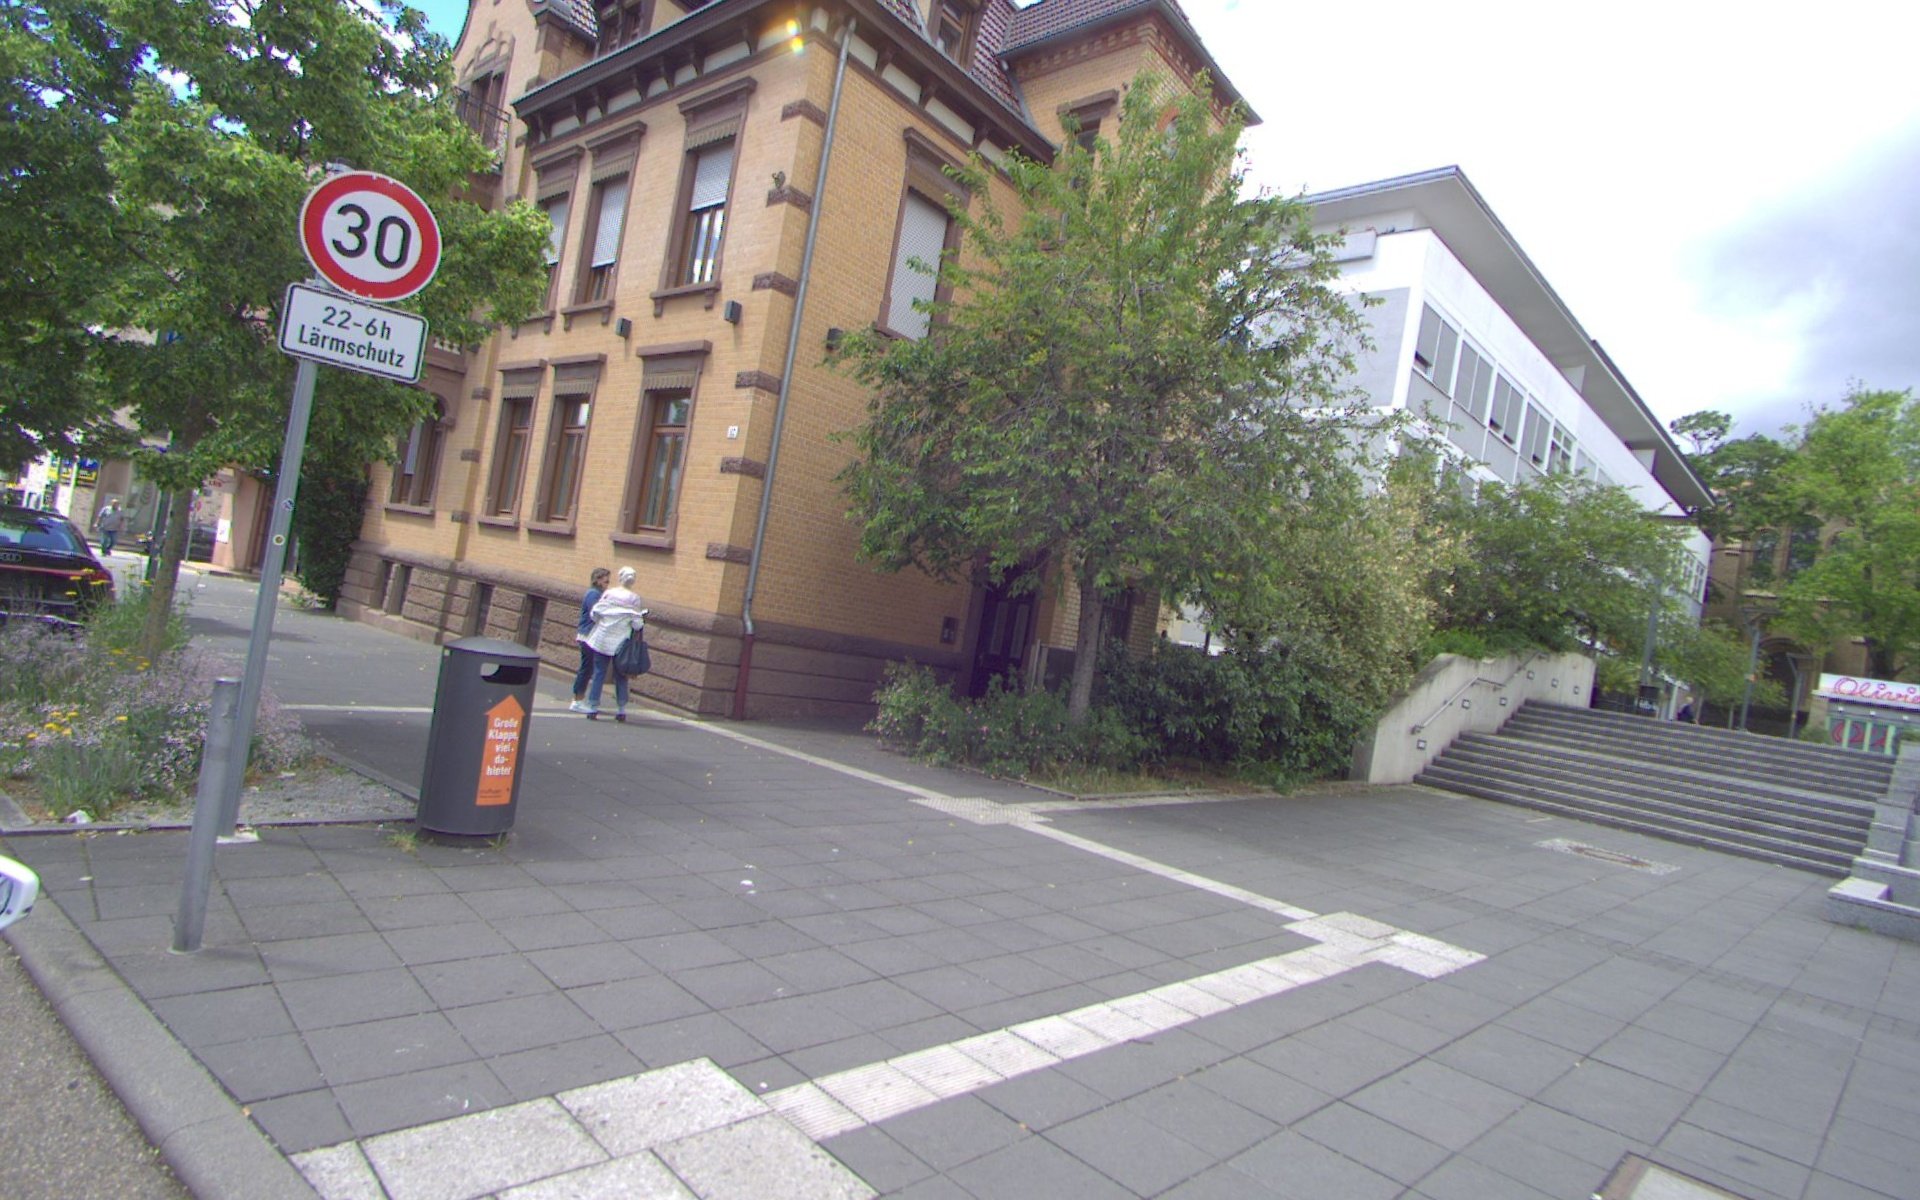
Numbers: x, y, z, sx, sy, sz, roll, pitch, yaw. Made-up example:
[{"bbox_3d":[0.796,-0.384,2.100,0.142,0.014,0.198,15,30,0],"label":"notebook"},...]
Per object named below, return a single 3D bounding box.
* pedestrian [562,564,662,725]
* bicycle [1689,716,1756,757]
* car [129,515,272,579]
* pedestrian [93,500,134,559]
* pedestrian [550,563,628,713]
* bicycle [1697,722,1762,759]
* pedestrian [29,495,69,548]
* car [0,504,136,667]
[{"bbox_3d":[-3.831,0.490,11.101,0.664,1.648,0.555,7,0,12],"label":"pedestrian"},{"bbox_3d":[32.597,5.825,43.038,1.989,1.323,0.688,11,1,18],"label":"bicycle"},{"bbox_3d":[-29.738,-2.042,39.470,1.819,1.581,3.994,7,-5,38],"label":"car"},{"bbox_3d":[-25.118,-2.093,29.862,0.689,1.645,0.631,8,-1,38],"label":"pedestrian"},{"bbox_3d":[-4.284,0.443,11.616,0.503,1.648,0.504,8,-1,-44],"label":"pedestrian"},{"bbox_3d":[33.641,6.133,43.987,1.990,1.155,0.688,12,1,18],"label":"bicycle"},{"bbox_3d":[-29.790,-2.567,32.909,0.559,1.581,0.711,8,-1,37],"label":"pedestrian"},{"bbox_3d":[-10.437,-0.328,10.654,4.313,1.422,1.855,7,-2,41],"label":"car"}]
